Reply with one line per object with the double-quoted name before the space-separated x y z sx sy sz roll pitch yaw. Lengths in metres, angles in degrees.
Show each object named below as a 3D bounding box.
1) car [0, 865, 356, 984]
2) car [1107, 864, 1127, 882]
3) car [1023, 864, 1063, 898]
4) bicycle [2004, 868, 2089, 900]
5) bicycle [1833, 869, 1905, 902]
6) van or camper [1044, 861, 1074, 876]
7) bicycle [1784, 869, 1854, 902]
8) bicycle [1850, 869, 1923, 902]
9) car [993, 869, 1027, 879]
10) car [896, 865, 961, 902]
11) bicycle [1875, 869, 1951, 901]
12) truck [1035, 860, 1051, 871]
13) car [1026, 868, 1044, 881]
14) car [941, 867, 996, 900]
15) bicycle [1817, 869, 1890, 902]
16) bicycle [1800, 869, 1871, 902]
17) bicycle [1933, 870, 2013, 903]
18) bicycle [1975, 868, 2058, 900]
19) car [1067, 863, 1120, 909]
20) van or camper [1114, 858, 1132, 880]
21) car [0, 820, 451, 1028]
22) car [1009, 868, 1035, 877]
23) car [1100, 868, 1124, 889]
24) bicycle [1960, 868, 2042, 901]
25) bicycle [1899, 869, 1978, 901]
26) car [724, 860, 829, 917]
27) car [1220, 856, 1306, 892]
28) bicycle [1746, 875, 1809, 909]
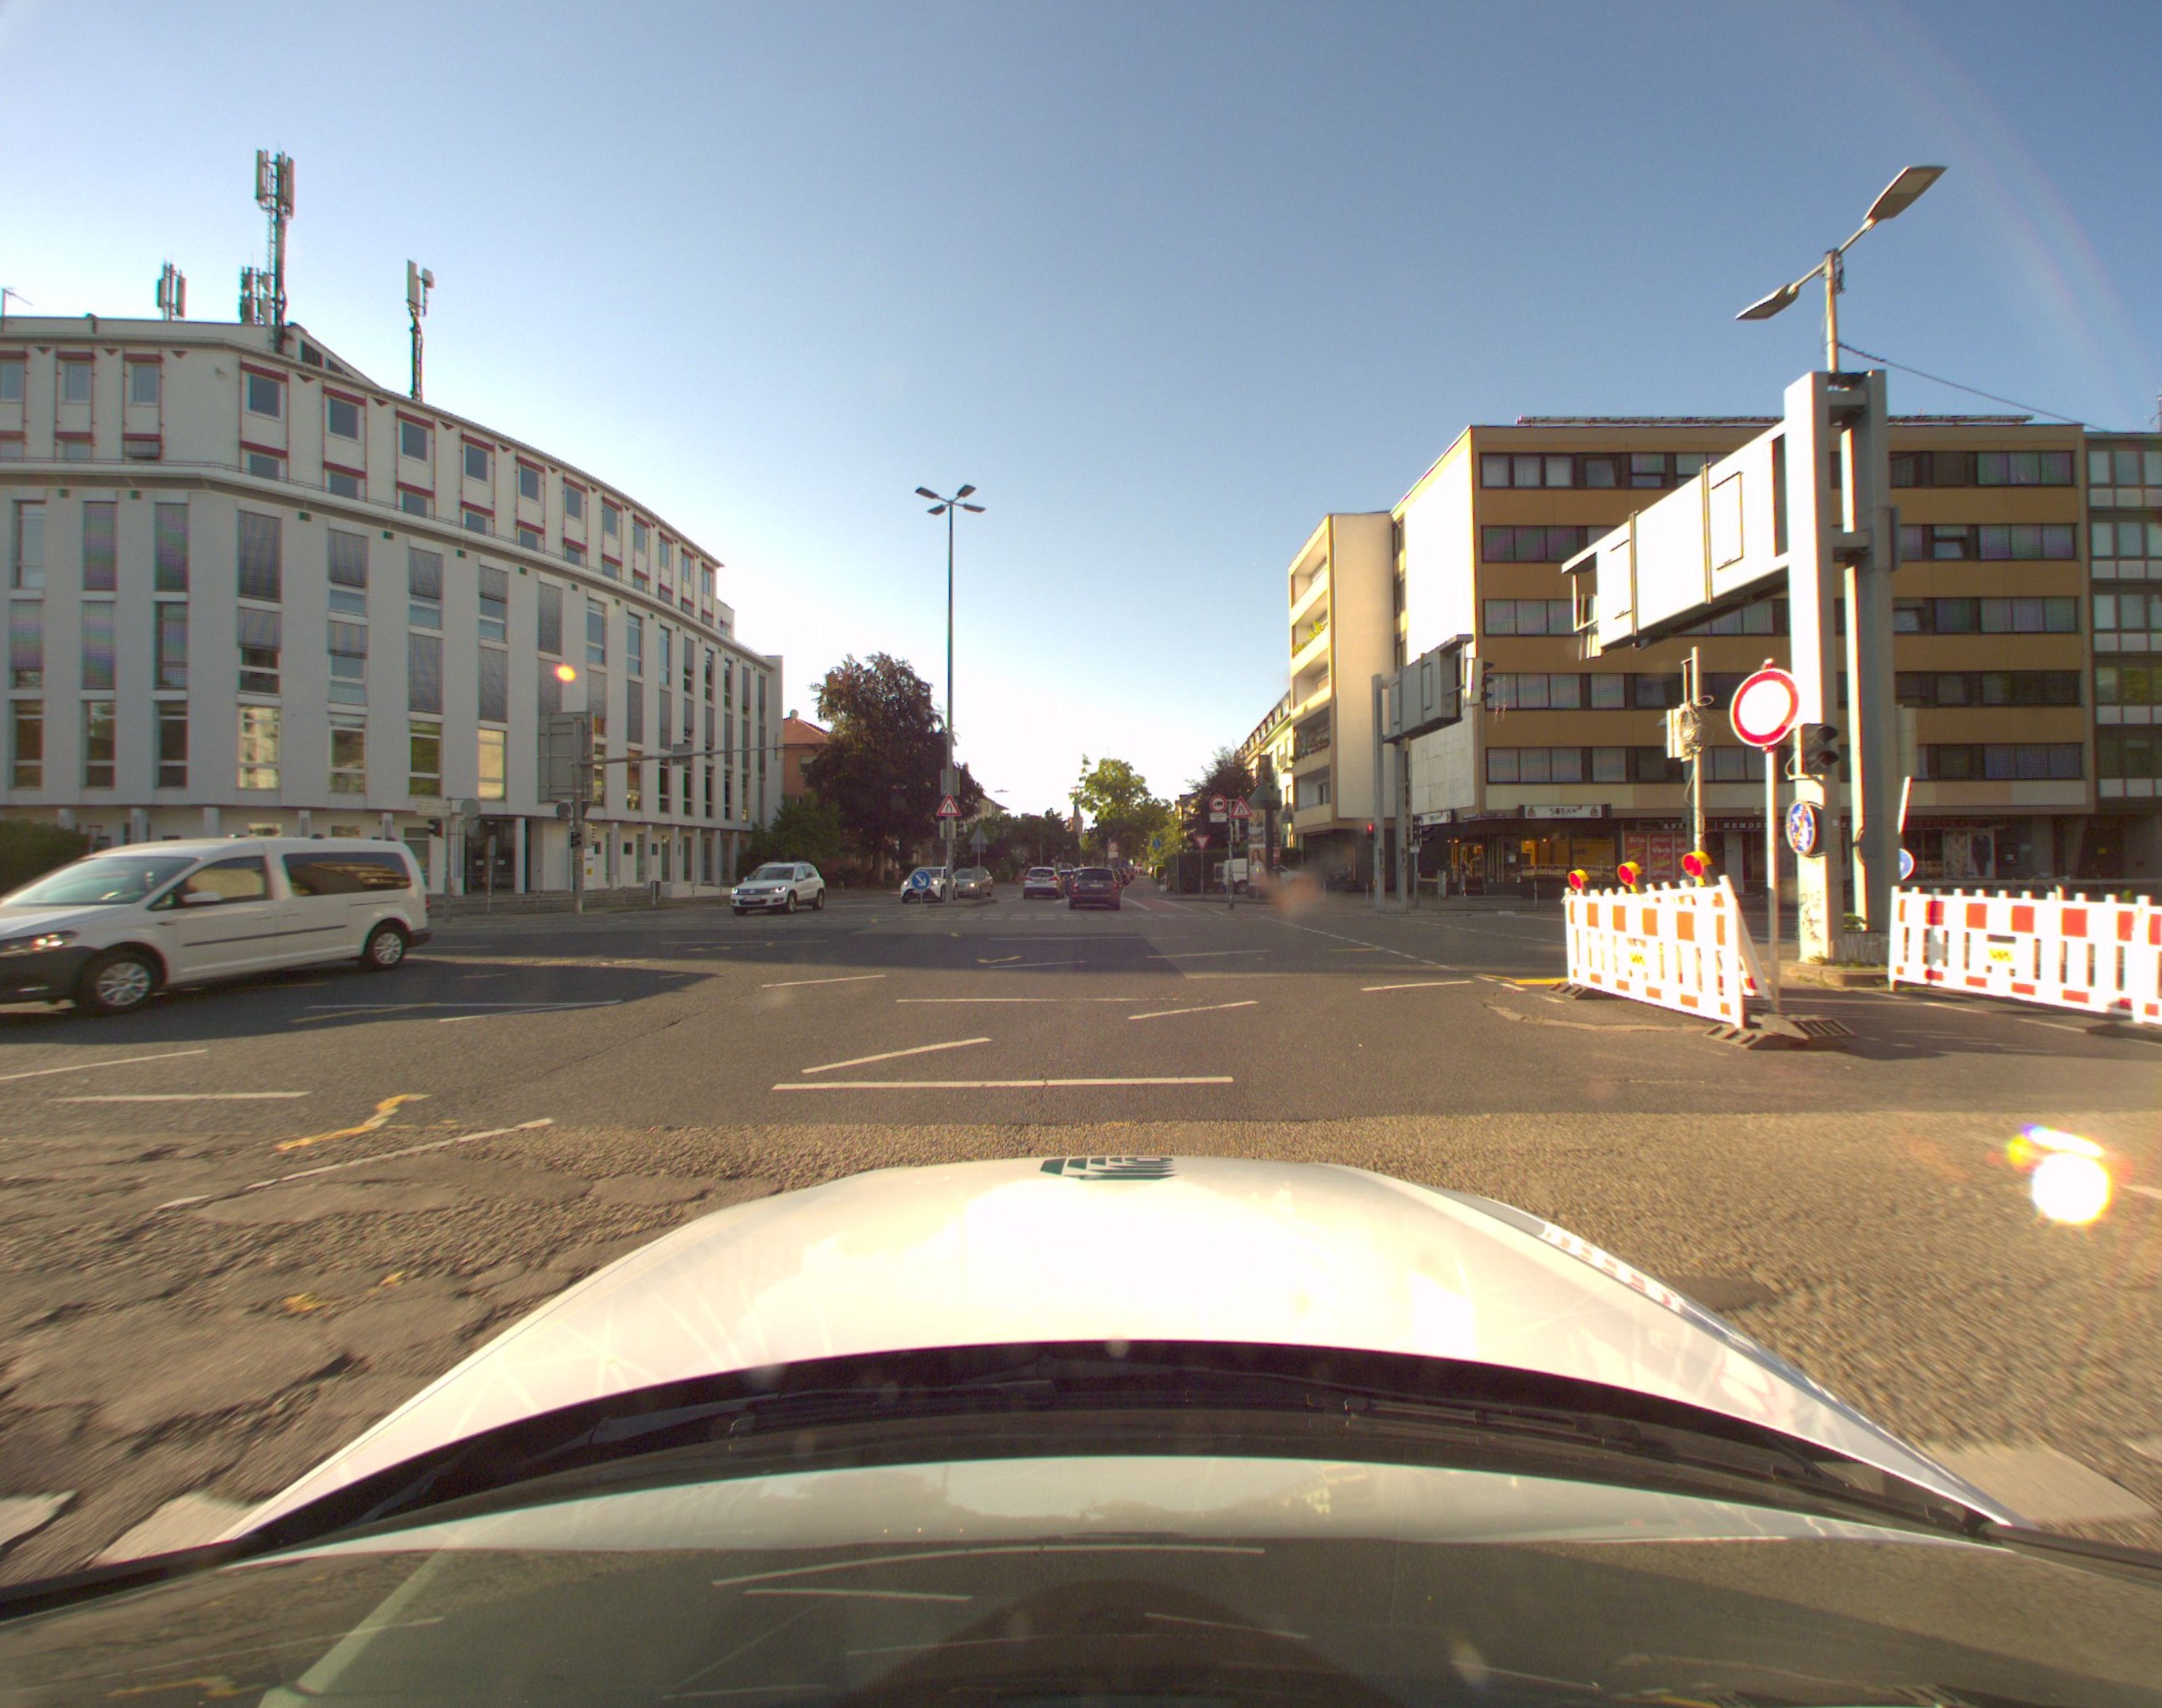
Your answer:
"car" -13.496 0.921 12.235 1.700 1.478 3.814 0 -1 2
"car" 3.399 1.732 75.974 1.725 1.651 4.295 0 -1 4
"car" -1.789 1.253 39.101 1.724 1.494 3.950 0 -1 0
"bicycle" 34.497 1.048 29.146 0.525 1.096 2.003 0 -1 -6
"bicycle" 27.974 1.094 28.954 0.525 1.096 2.005 0 -1 -3
"van or camper" -5.671 3.770 210.888 7.611 3.875 2.001 0 -1 1
"bicycle" 26.093 1.107 28.839 0.525 1.096 2.003 0 -1 -6
"bicycle" 28.591 1.090 28.964 0.525 1.096 2.005 0 -1 -3
"car" -10.254 2.941 117.680 4.710 1.362 1.993 0 -1 -10
"car" -6.457 1.225 34.949 1.820 1.461 3.905 0 -1 3
"bicycle" 29.582 1.083 29.013 0.525 1.096 2.003 0 -1 -6
"truck" -7.468 2.201 161.161 2.901 2.093 1.547 0 -1 3
"car" -5.657 2.542 100.105 1.742 1.503 4.201 0 -1 4
"car" -5.589 1.419 40.957 1.820 1.514 4.608 0 0 3
"bicycle" 27.316 1.098 28.850 0.525 1.096 2.003 0 -1 -6
"bicycle" 26.708 1.103 28.881 0.525 1.096 2.003 0 -1 -6
"bicycle" 31.705 1.128 28.984 0.525 1.096 2.003 0 -1 -6
"bicycle" 33.367 1.056 29.093 0.525 1.096 2.003 0 -1 -6
"car" 0.431 1.072 28.571 1.724 1.494 3.950 0 -1 0
"van or camper" 5.373 1.873 103.239 2.058 2.676 5.995 0 -1 4
"car" -10.322 0.650 9.691 1.822 1.847 4.945 0 -1 -1
"car" -9.577 2.964 132.083 3.974 1.479 2.000 1 -1 0
"car" 2.389 1.845 62.767 1.725 1.551 3.649 0 -1 4
"bicycle" 32.700 1.060 28.984 0.525 1.096 2.003 0 -1 -6
"bicycle" 30.295 1.076 28.822 0.525 1.096 2.003 0 -1 -6
"car" -9.846 1.065 26.747 1.822 1.706 4.439 0 -1 -1
"car" 9.436 1.016 42.454 4.073 1.814 1.861 0 -1 0
"bicycle" 24.519 1.314 28.710 0.524 1.096 2.008 0 -1 2
